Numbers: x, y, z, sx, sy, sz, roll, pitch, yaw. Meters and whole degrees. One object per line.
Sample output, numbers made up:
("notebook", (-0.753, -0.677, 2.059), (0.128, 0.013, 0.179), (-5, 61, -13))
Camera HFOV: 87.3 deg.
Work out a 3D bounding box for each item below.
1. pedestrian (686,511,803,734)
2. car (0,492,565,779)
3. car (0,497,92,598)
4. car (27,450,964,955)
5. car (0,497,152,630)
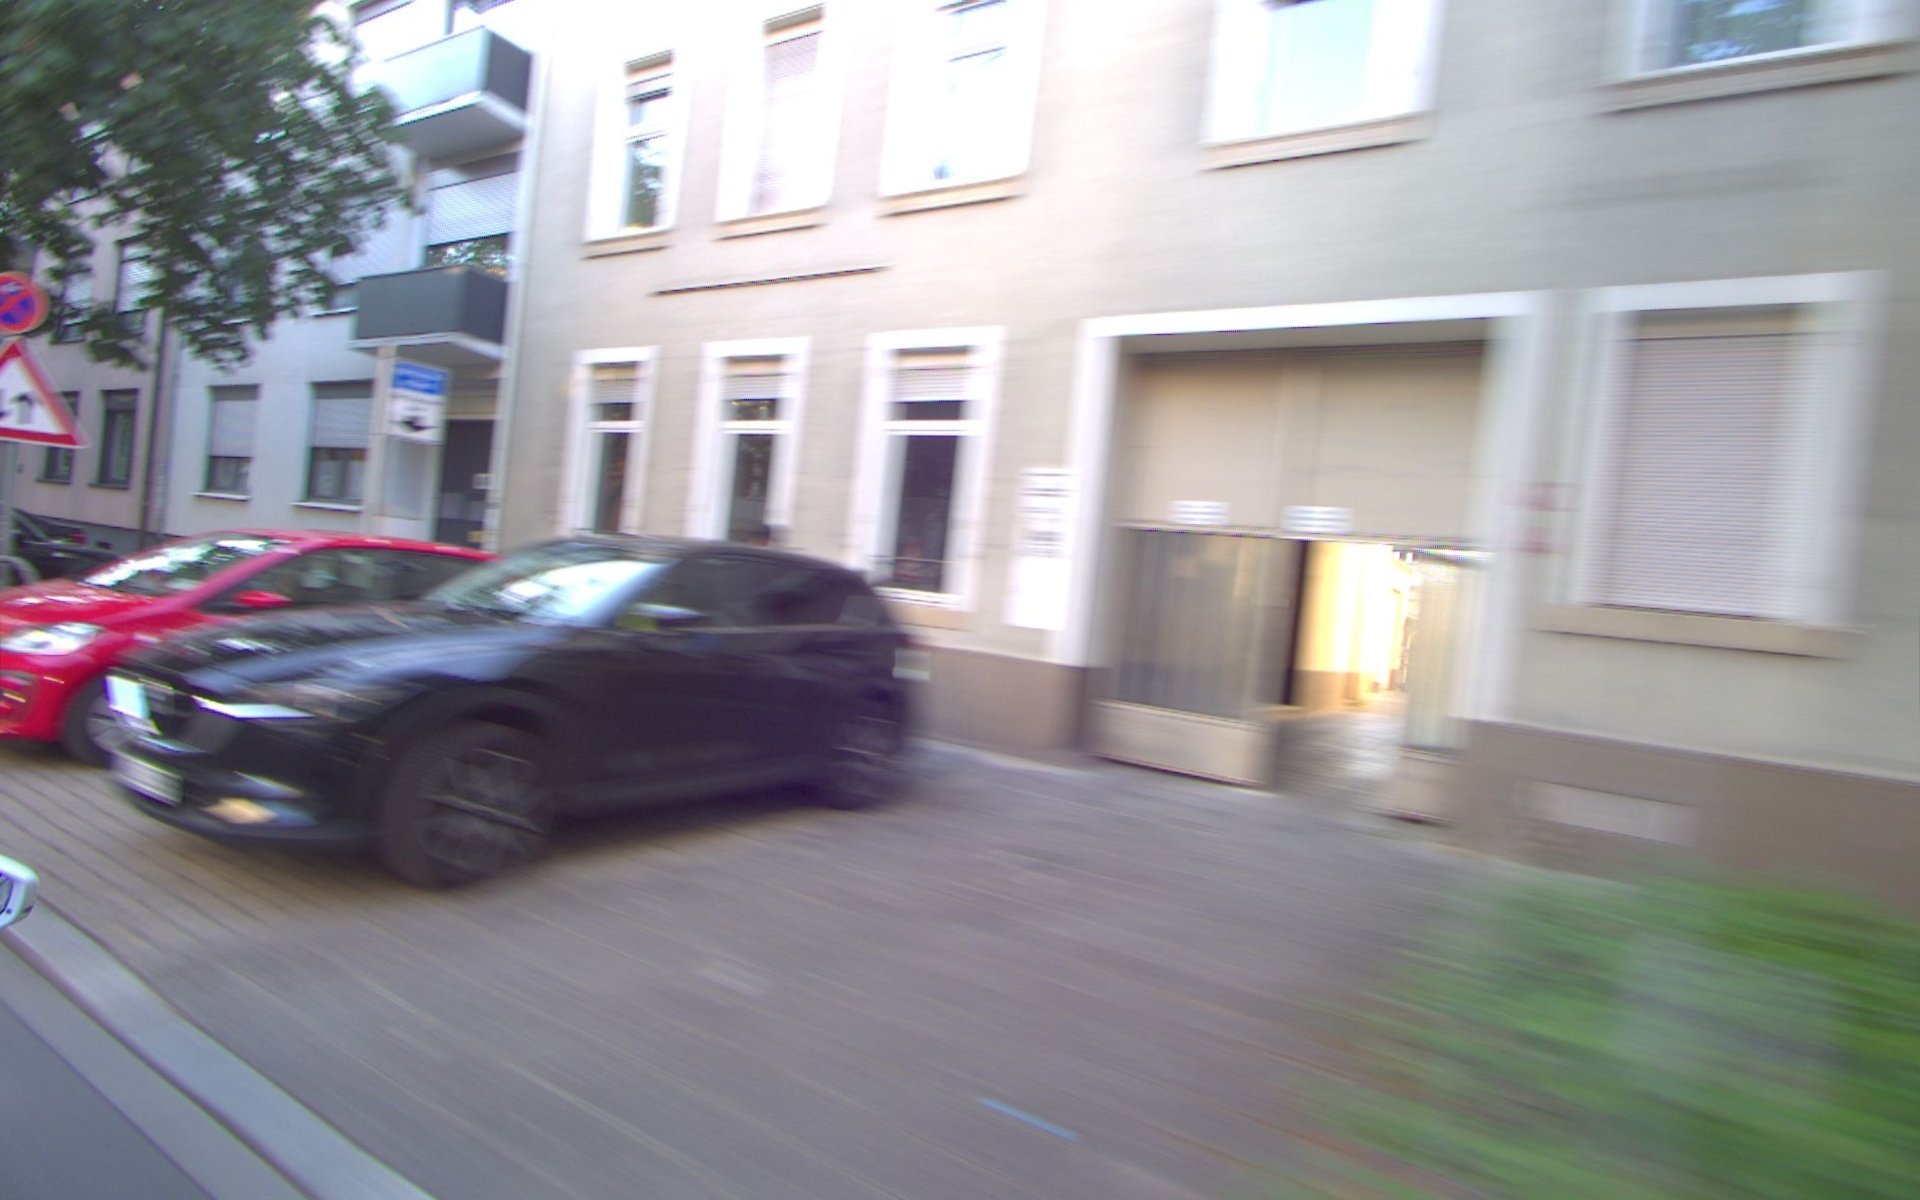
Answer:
("pedestrian", (-1.821, 0.189, 8.581), (0.661, 1.759, 0.691), (6, 1, 1))
("car", (-4.907, 0.183, 7.062), (1.867, 1.471, 3.487), (7, 1, 30))
("car", (-15.934, -0.977, 14.529), (2.002, 1.439, 4.714), (7, 1, 32))
("car", (-2.039, 0.418, 5.736), (1.869, 1.676, 4.428), (7, 0, 33))
("car", (-11.927, -0.531, 11.678), (1.867, 1.471, 3.487), (7, 1, 30))
